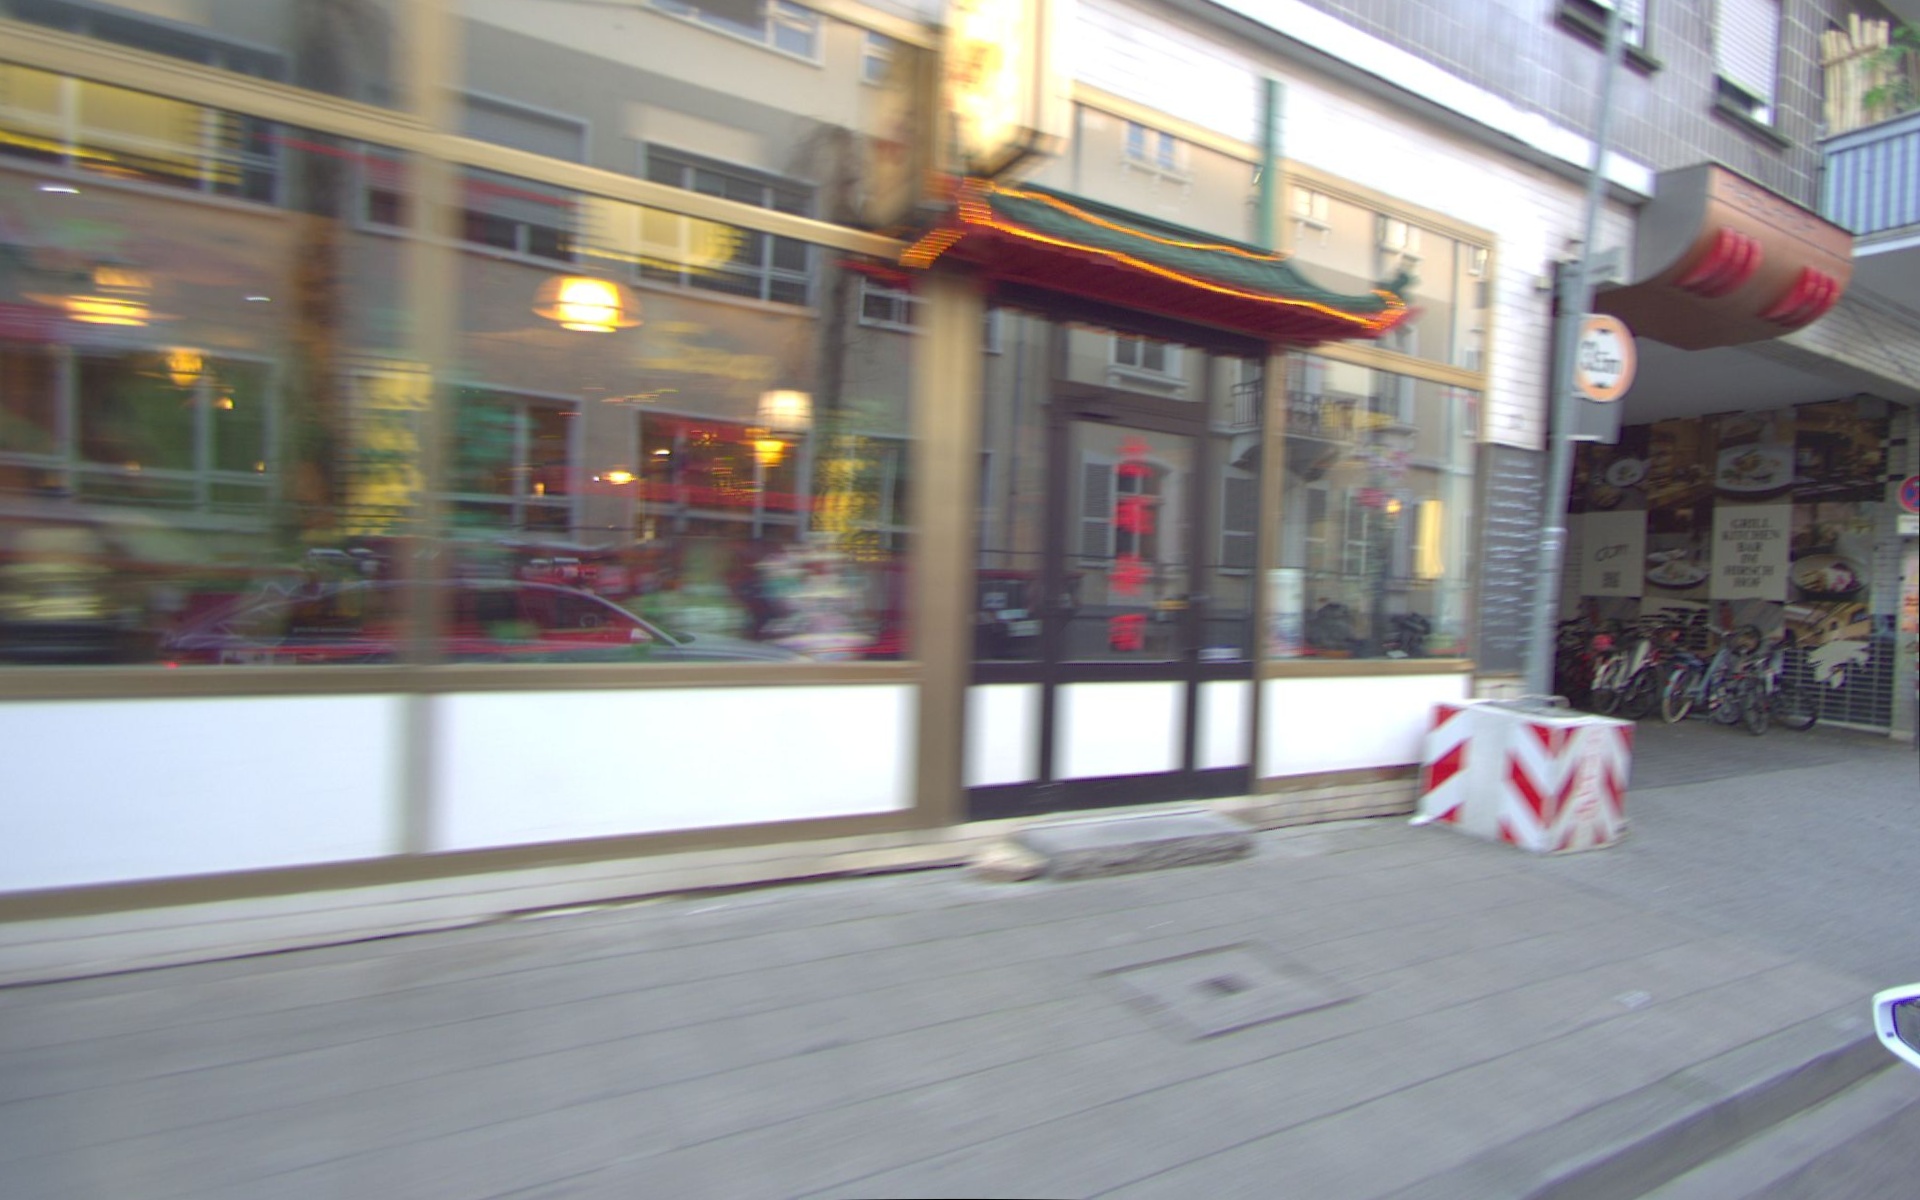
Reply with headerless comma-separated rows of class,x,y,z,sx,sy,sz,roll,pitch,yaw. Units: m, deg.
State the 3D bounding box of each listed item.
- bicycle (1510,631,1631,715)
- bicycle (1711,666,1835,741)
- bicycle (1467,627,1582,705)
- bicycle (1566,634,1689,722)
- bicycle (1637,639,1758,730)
bicycle,8.057,0.943,13.239,1.837,1.023,0.519,2,1,-30
bicycle,9.449,1.178,11.661,1.727,0.771,0.519,2,1,-30
bicycle,7.978,0.911,14.170,1.837,1.023,0.519,2,1,-30
bicycle,8.515,0.971,12.798,1.837,1.023,0.519,2,1,-30
bicycle,9.049,1.015,12.310,1.727,1.023,0.519,2,1,-30
